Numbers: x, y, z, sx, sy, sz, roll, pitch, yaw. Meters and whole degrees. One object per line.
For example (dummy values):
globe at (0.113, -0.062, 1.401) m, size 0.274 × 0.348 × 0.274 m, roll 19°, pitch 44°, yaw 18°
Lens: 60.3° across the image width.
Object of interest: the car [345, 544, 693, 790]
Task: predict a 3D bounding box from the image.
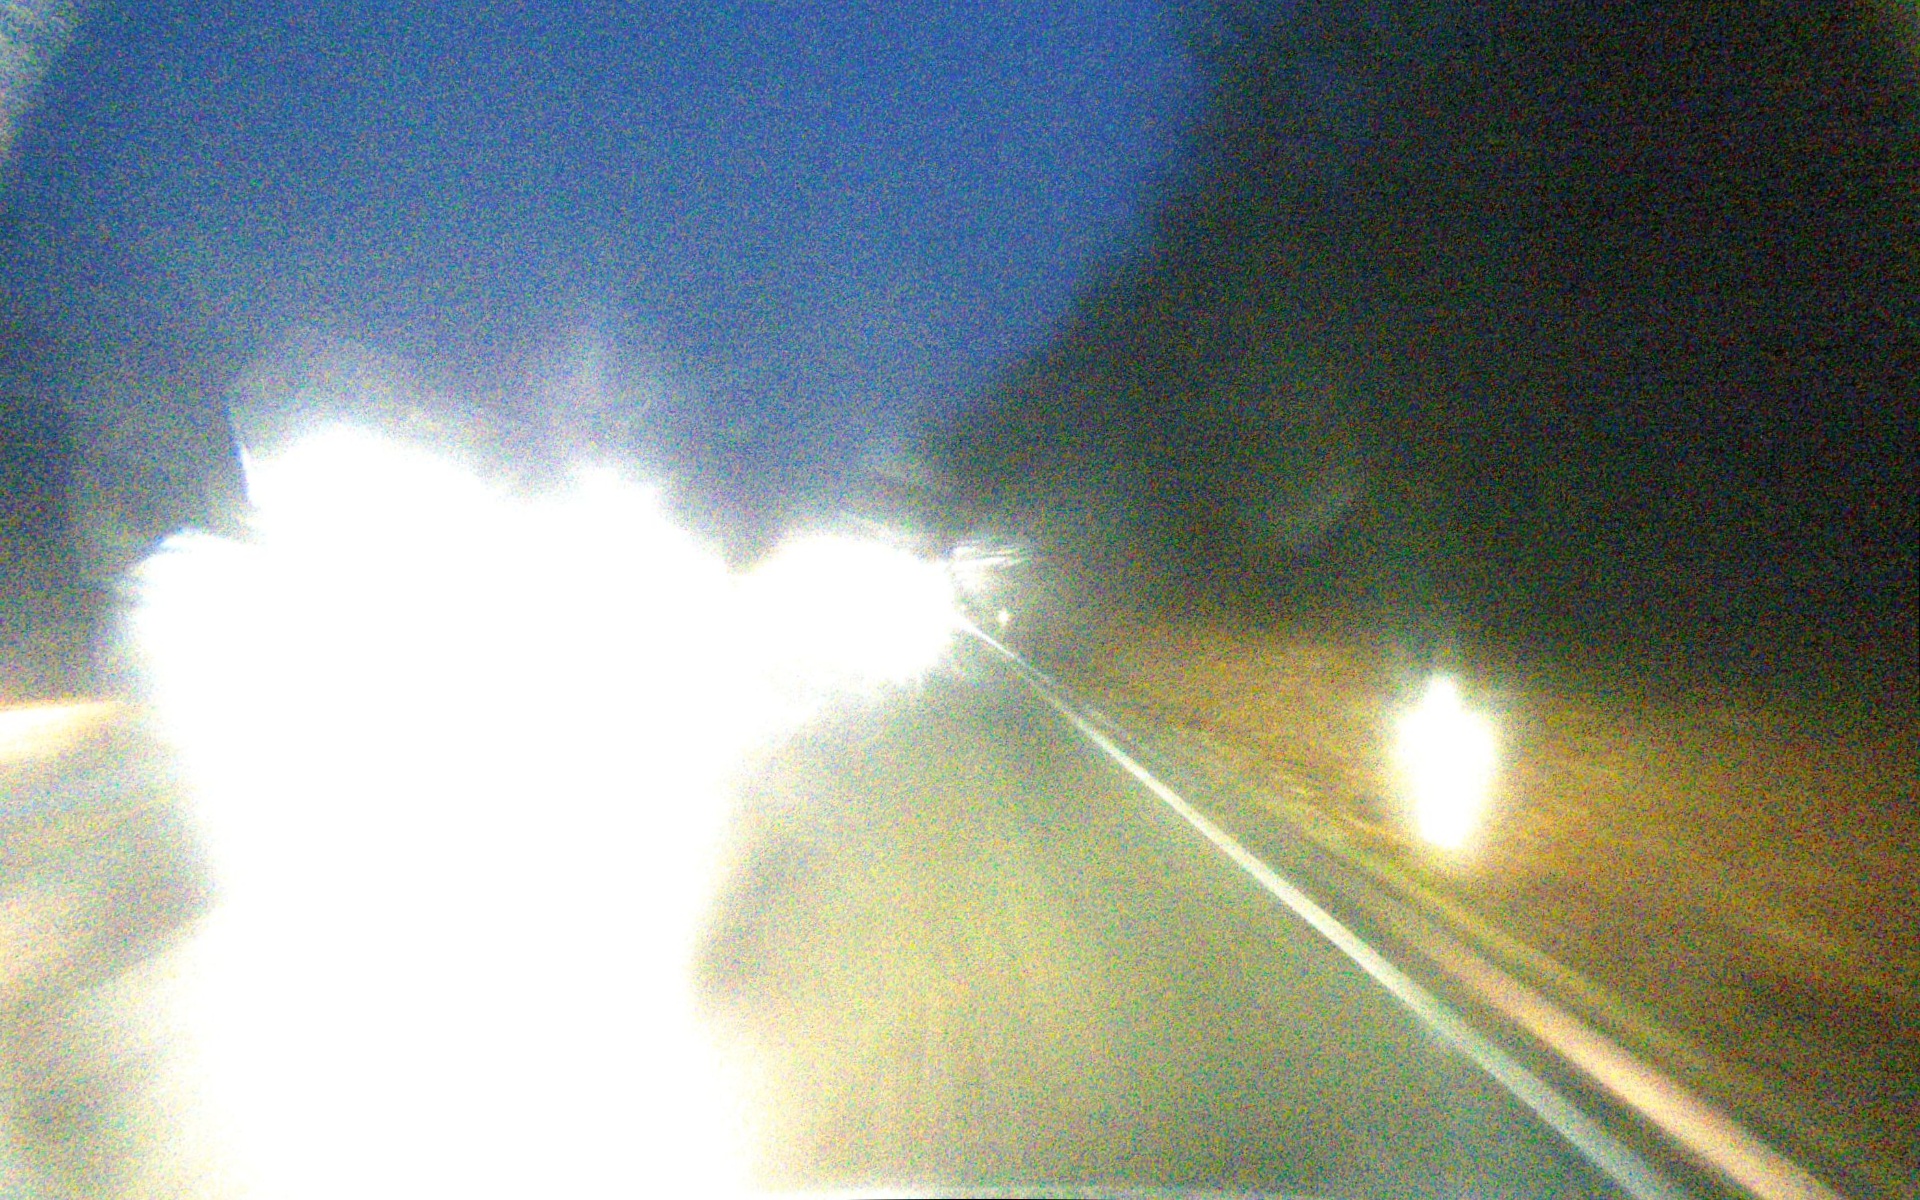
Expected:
car at (-3.684, 0.517, 14.653) m, size 1.953 × 1.824 × 4.245 m, roll 1°, pitch 0°, yaw -1°

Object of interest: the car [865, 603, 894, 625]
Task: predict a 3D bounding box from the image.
car at (-5.825, 1.005, 120.176) m, size 1.953 × 1.473 × 4.428 m, roll 1°, pitch 0°, yaw -1°
